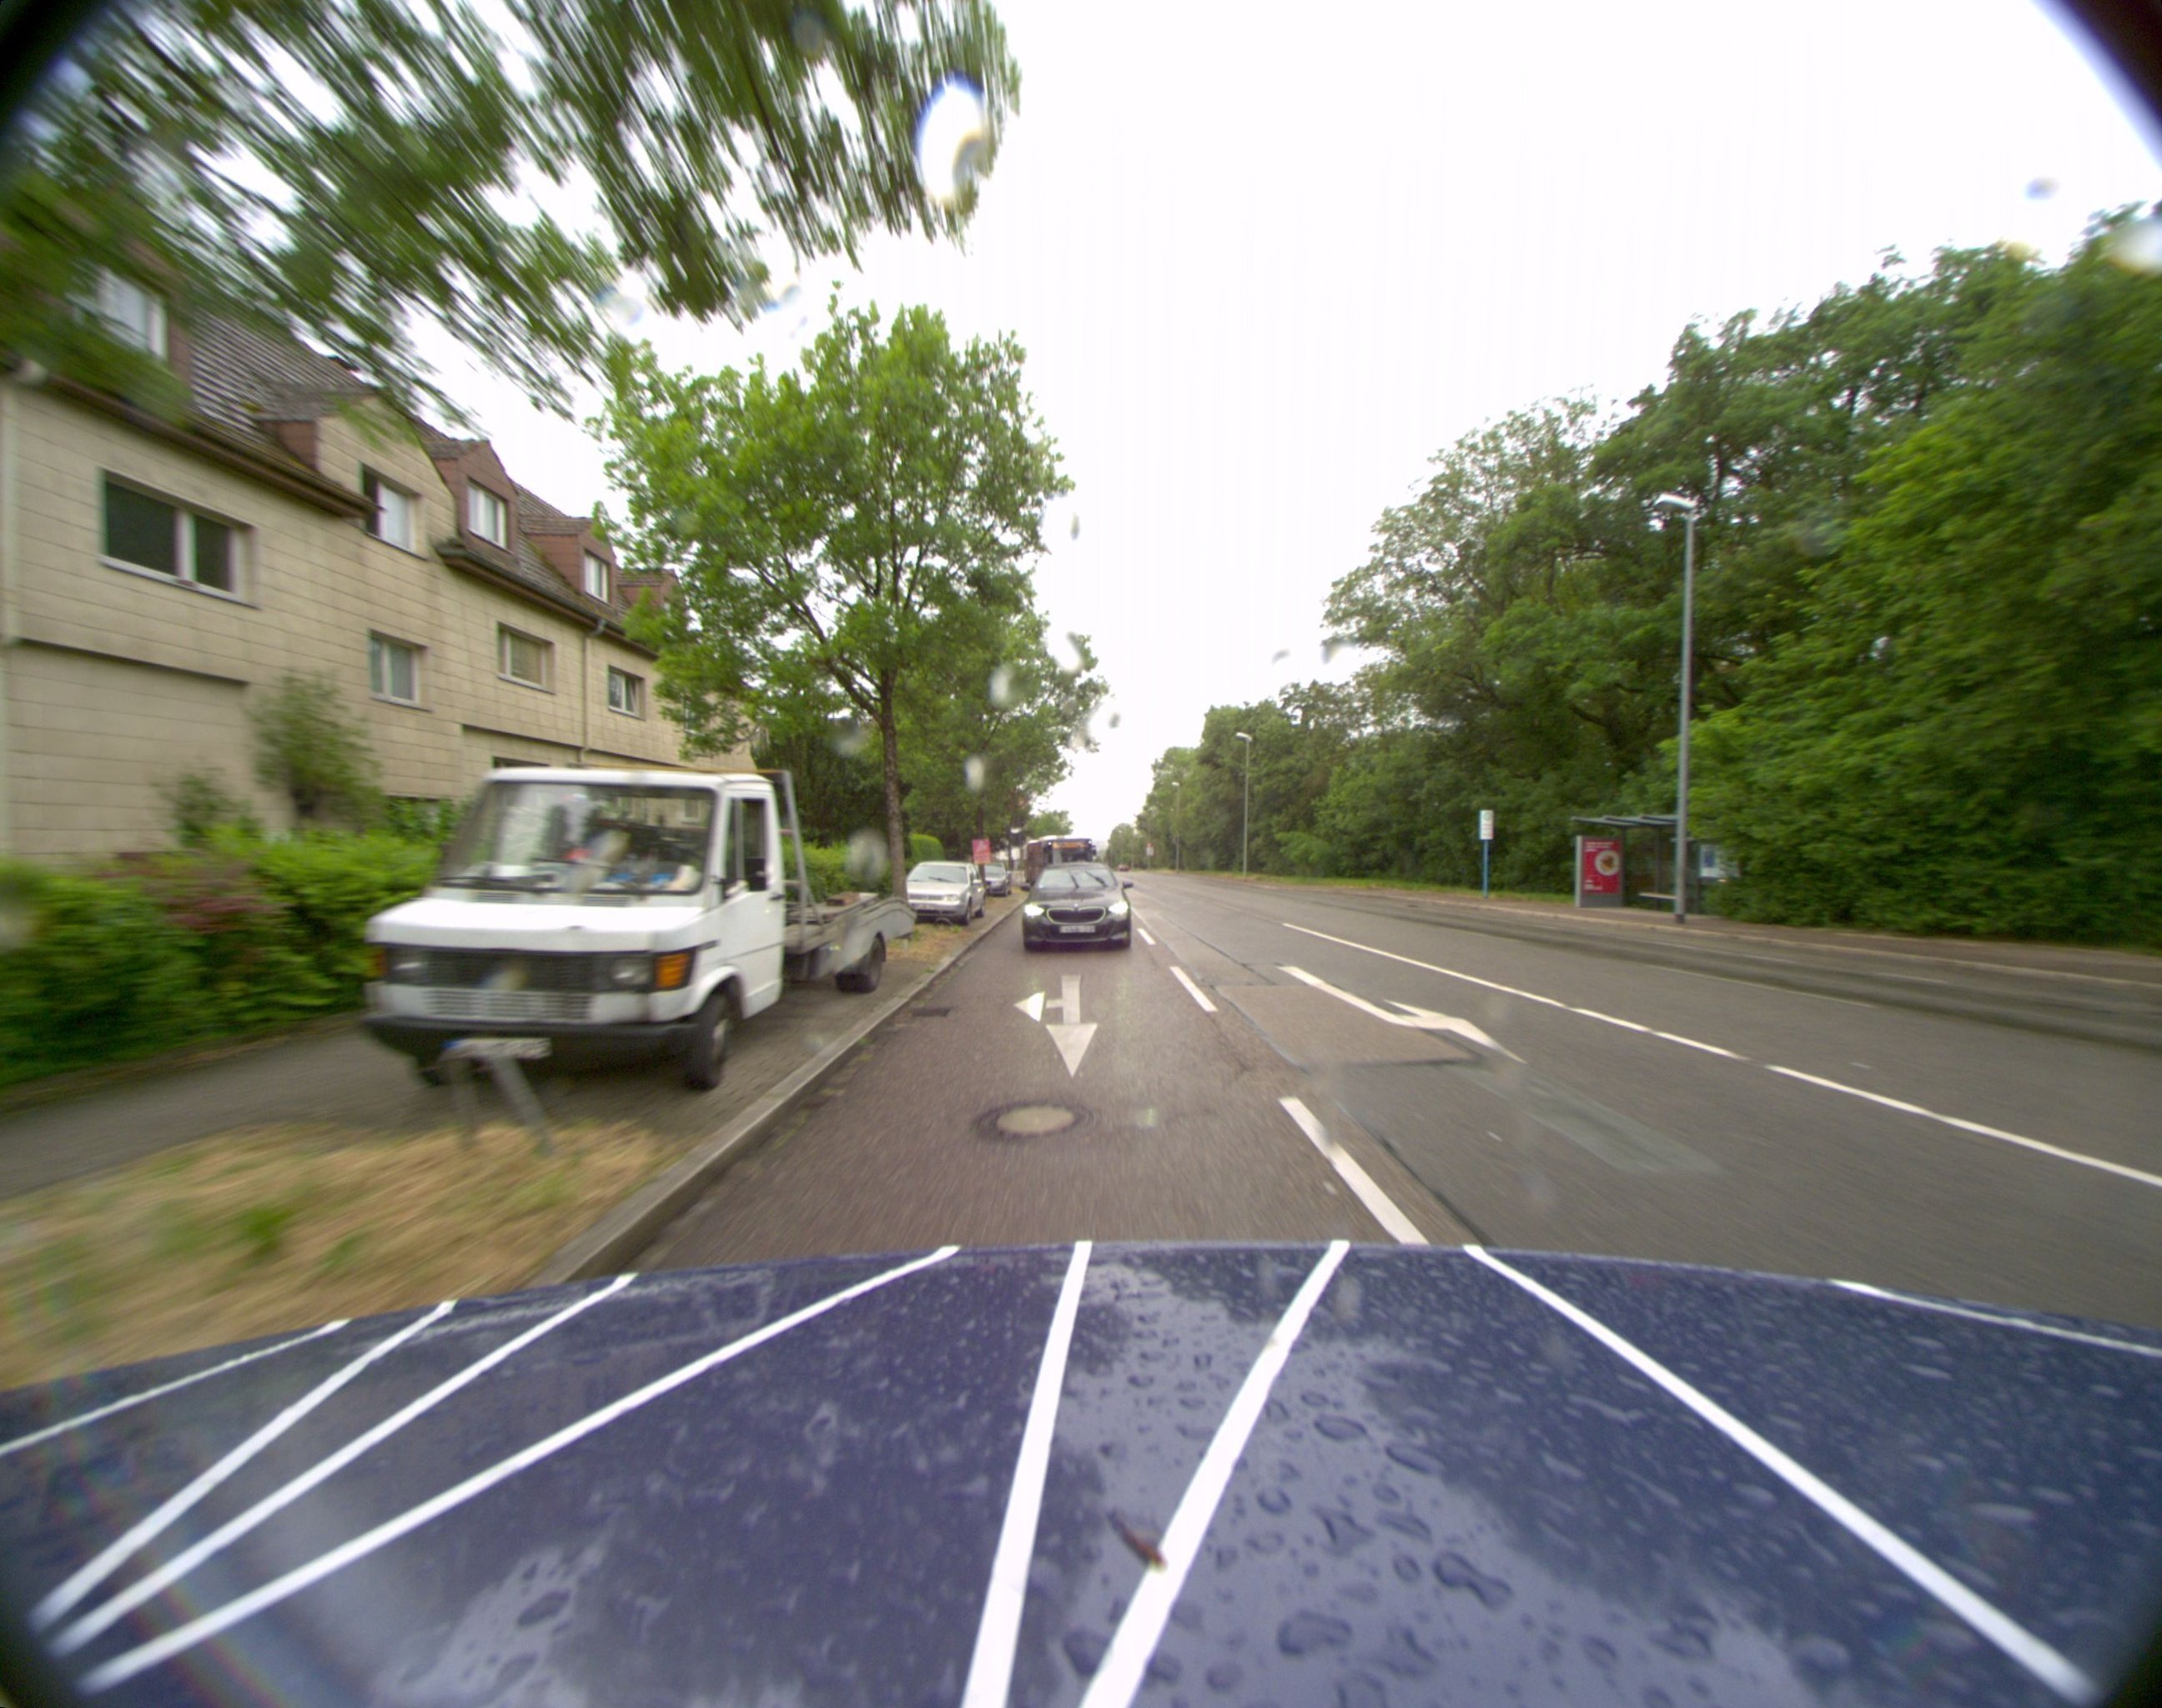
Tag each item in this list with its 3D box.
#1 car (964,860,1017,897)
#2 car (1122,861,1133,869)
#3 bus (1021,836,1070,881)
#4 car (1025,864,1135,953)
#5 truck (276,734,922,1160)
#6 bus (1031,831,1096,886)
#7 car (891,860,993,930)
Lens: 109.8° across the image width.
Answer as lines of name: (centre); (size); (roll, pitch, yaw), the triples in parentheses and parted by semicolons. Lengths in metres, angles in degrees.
car: (-3.721, 0.988, 31.955); (1.692, 1.381, 4.499); (2, 0, -1)
car: (8.900, 2.153, 146.898); (1.748, 1.423, 4.388); (2, 0, -1)
bus: (-2.668, 0.344, 54.183); (2.564, 2.942, 8.550); (-1, 0, -9)
car: (-0.139, 0.958, 15.219); (1.856, 1.461, 4.482); (-1, 0, -3)
truck: (-3.279, 0.526, 7.354); (2.085, 2.208, 6.501); (3, 0, -1)
bus: (-1.228, 0.287, 45.350); (2.565, 2.942, 9.442); (-1, 0, -9)
car: (-3.226, 0.922, 18.339); (1.605, 1.428, 4.022); (3, -1, 1)
